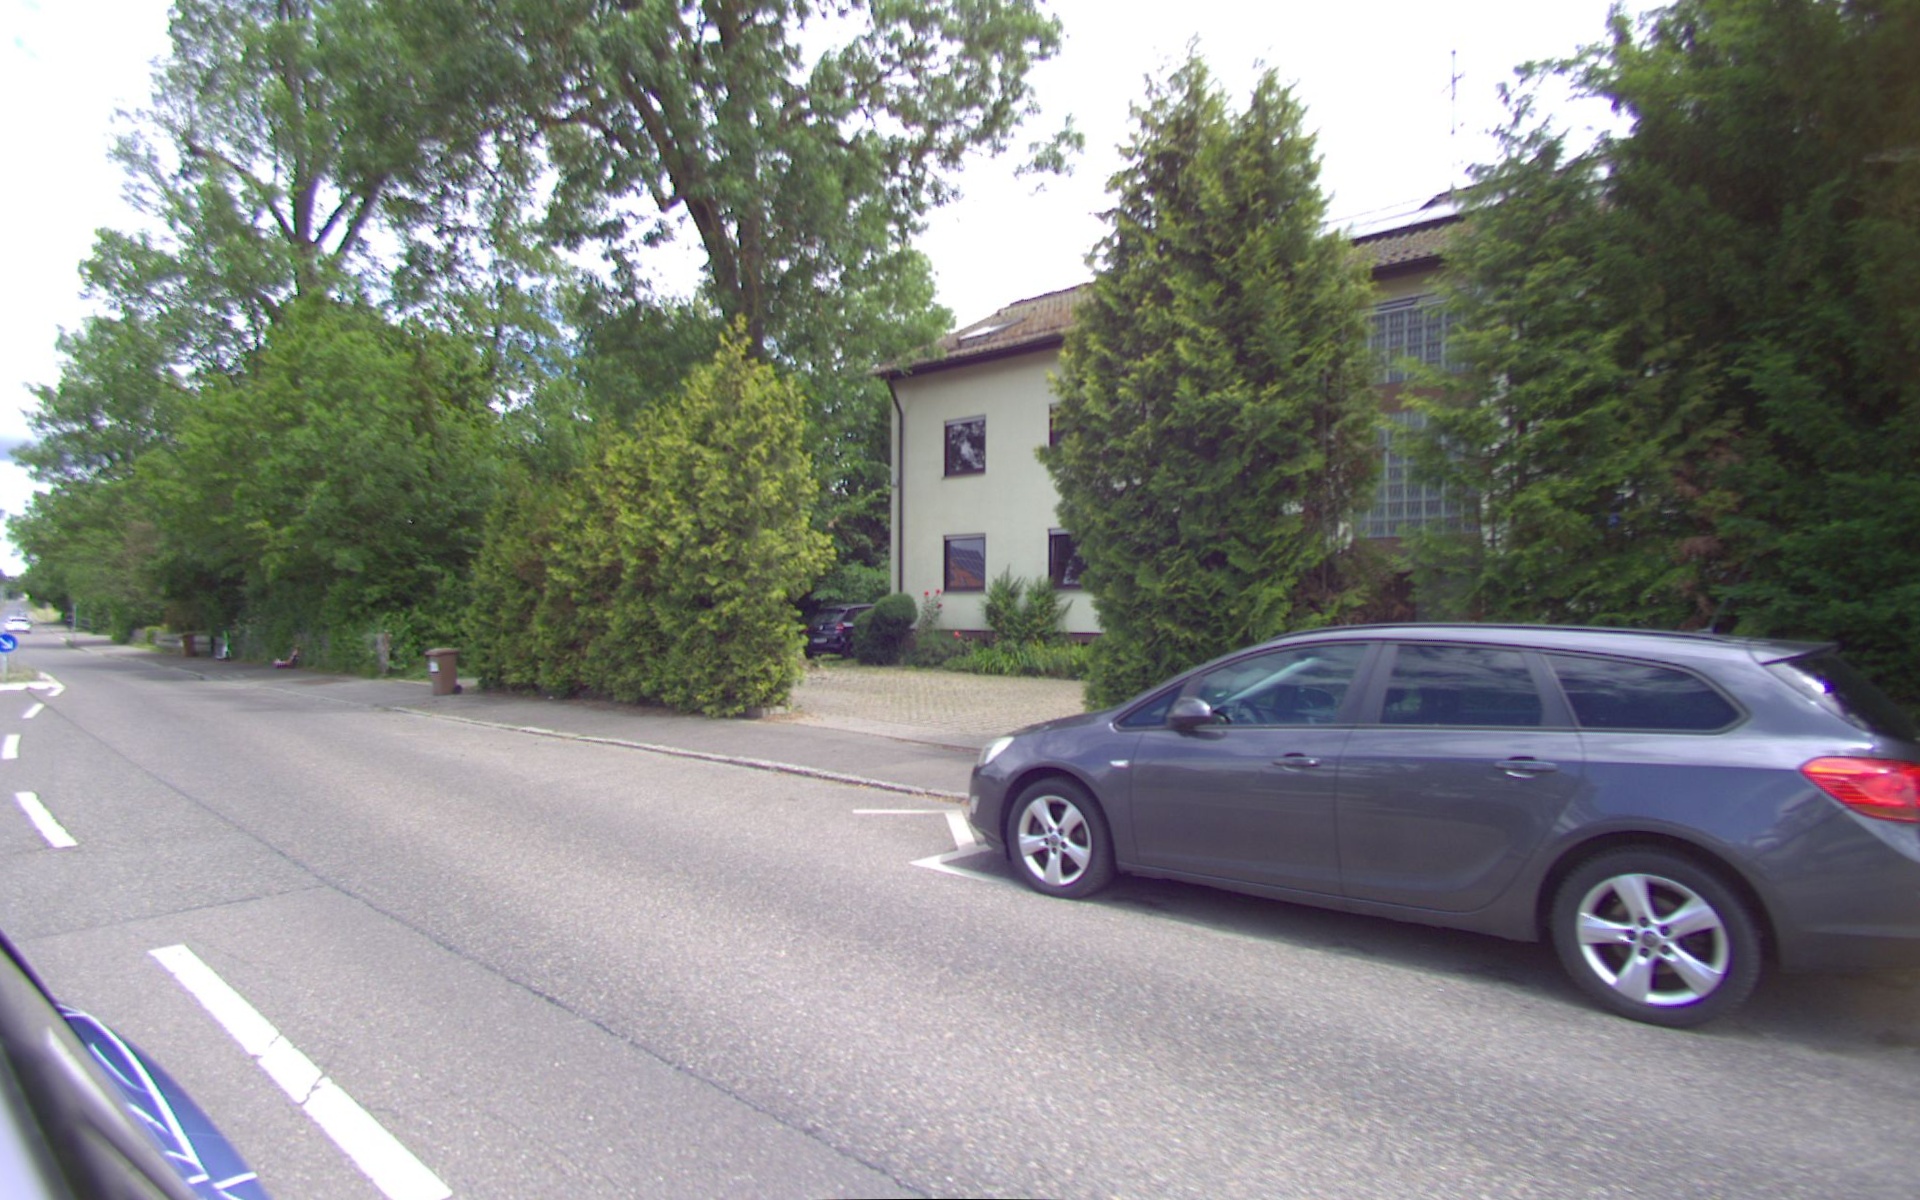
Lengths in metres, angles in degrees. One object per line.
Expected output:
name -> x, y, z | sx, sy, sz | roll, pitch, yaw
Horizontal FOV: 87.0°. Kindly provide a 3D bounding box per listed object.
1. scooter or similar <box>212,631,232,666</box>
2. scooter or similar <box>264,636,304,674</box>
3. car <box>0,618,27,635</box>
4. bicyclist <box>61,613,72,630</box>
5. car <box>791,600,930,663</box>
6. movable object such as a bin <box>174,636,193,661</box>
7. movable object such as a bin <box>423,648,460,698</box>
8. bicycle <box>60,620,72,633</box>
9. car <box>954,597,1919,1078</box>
scooter or similar -> -26.115, 1.702, 35.800 | 0.403, 1.208, 1.641 | 1, -1, -42
scooter or similar -> -20.116, 1.624, 30.127 | 1.208, 1.089, 0.474 | -1, 0, 28
car -> -85.209, 2.392, 91.143 | 1.673, 1.441, 3.791 | 3, -3, -42
bicyclist -> -84.336, 2.041, 95.504 | 0.769, 1.561, 0.870 | 1, -2, -44
car -> -2.780, 0.856, 28.976 | 1.881, 1.696, 3.832 | -1, -1, 37
movable object such as a bin -> -30.257, 1.888, 39.431 | 0.507, 0.952, 0.569 | -1, 0, -44
movable object such as a bin -> -10.358, 1.444, 20.220 | 0.428, 0.937, 0.459 | -1, 3, 29
bicycle -> -84.273, 2.504, 95.423 | 0.746, 1.236, 2.310 | 3, -3, -43
car -> 2.220, 0.806, 5.049 | 4.474, 1.516, 1.719 | -1, -3, 41
